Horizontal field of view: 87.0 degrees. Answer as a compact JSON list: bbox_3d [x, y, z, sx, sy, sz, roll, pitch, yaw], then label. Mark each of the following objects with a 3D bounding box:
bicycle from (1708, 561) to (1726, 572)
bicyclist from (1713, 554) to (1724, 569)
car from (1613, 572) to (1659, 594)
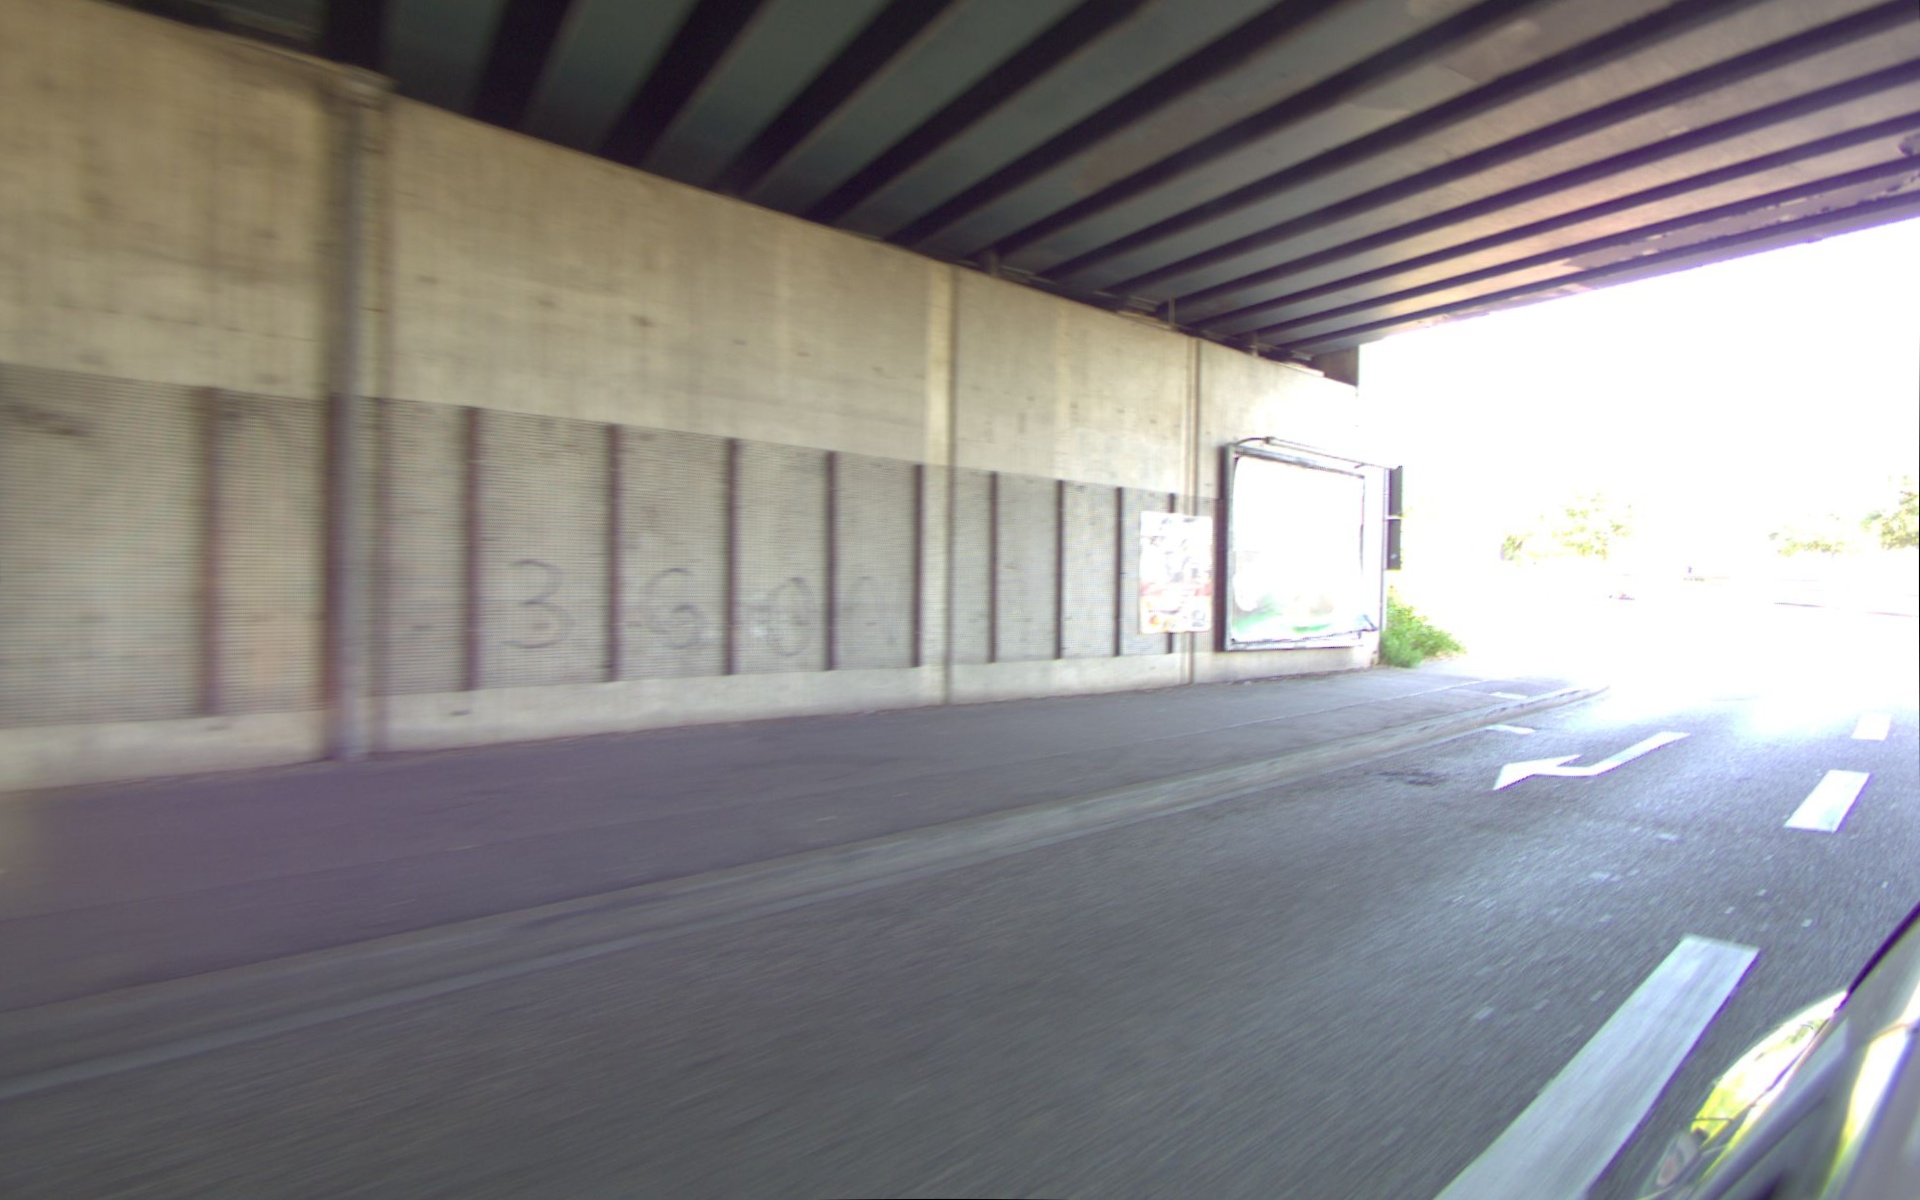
[{"bbox_3d":[74.318,-3.284,99.374,0.584,1.036,1.746,-2,1,9],"label":"bicycle"},{"bbox_3d":[74.275,-3.739,99.080,0.583,1.445,0.707,-1,1,8],"label":"bicyclist"},{"bbox_3d":[49.240,-1.214,73.772,1.826,1.501,3.956,1,0,19],"label":"car"}]
